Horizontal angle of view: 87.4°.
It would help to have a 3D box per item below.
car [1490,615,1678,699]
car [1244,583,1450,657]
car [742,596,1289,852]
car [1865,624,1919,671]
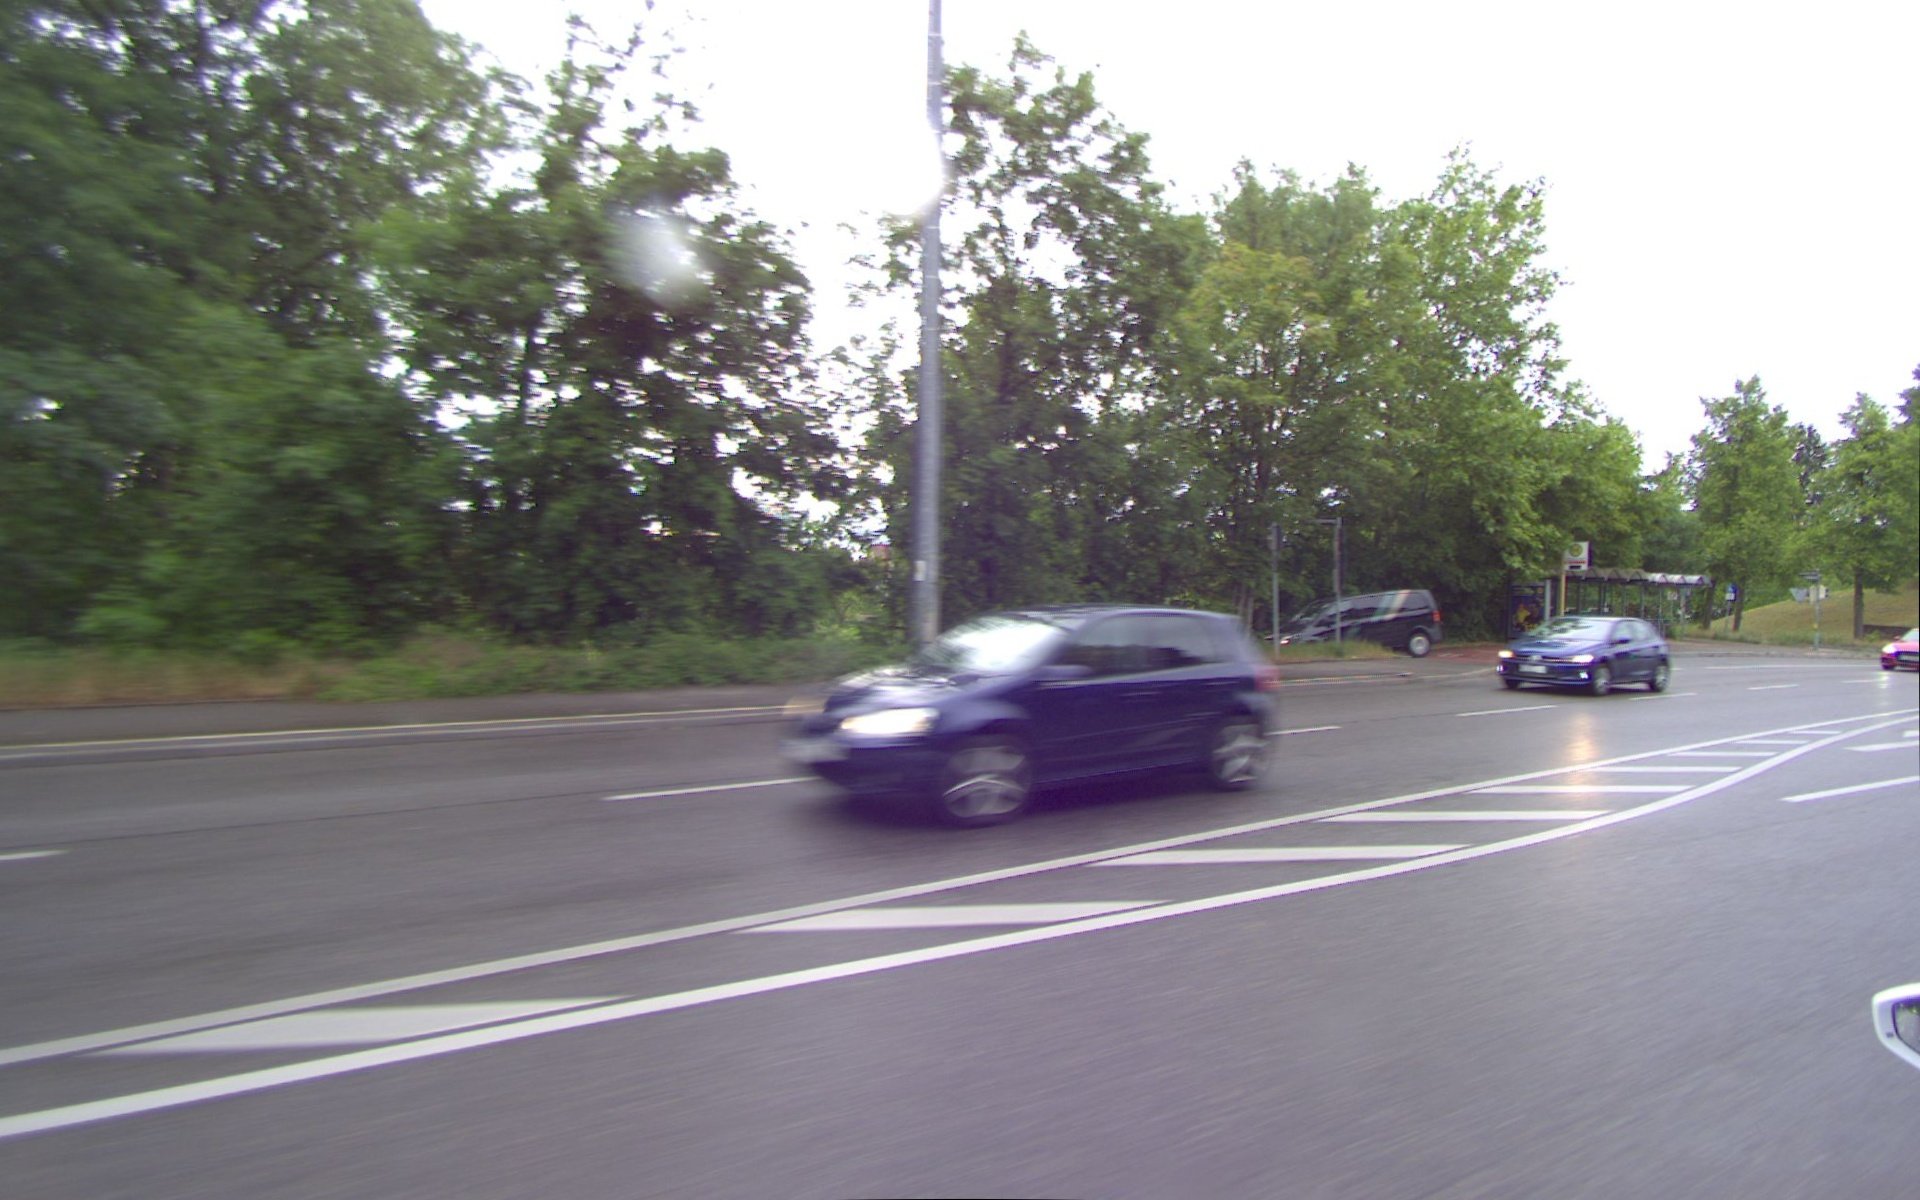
[{"bbox_3d":[12.014,1.036,19.265,3.959,1.413,1.620,1,0,-35],"label":"car"},{"bbox_3d":[10.820,0.554,28.260,5.067,1.972,2.106,0,-1,-10],"label":"car"},{"bbox_3d":[0.557,0.750,7.734,4.038,1.446,1.689,1,1,-36],"label":"car"},{"bbox_3d":[31.020,1.493,31.986,4.329,1.392,1.868,1,1,-28],"label":"car"}]
